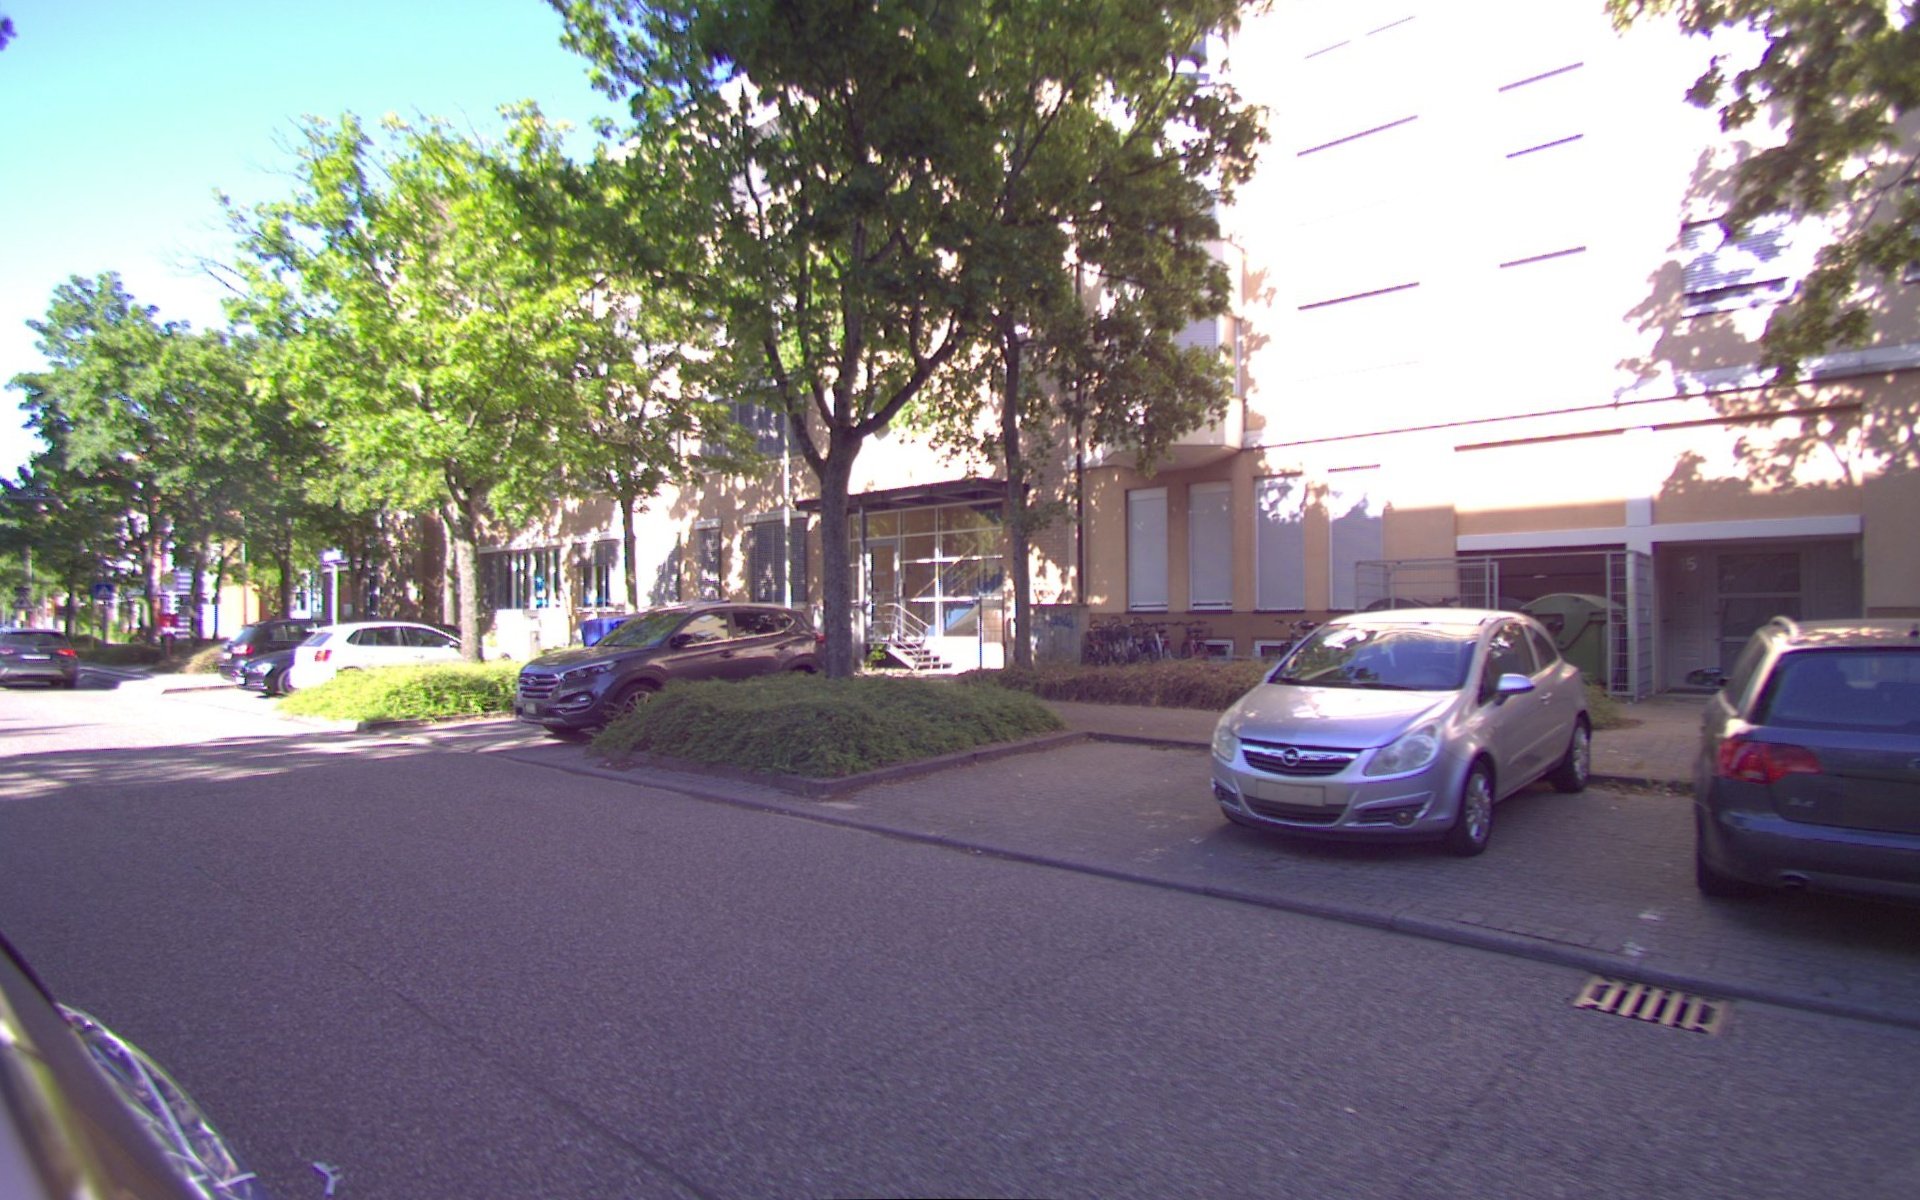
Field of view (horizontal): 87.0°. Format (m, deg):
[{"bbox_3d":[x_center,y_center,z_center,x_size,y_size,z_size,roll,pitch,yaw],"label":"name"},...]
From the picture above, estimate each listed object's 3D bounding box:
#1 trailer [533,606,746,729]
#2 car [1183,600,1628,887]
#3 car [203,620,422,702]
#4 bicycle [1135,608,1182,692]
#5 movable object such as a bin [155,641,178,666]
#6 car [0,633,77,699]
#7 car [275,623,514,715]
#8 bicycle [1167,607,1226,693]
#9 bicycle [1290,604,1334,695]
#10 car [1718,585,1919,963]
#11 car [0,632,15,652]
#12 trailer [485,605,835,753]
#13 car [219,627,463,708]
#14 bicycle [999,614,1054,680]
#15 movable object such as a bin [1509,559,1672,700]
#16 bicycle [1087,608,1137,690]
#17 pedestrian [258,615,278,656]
[{"bbox_3d":[-5.020,0.987,15.983,1.711,1.700,2.697,-2,-1,41],"label":"trailer"},{"bbox_3d":[3.400,0.783,7.350,1.733,1.472,3.792,-2,-1,44],"label":"car"},{"bbox_3d":[-15.026,1.346,23.634,1.727,1.582,3.947,-2,0,40],"label":"car"},{"bbox_3d":[3.634,0.880,18.432,0.609,1.419,1.720,-1,0,18],"label":"bicycle"},{"bbox_3d":[-24.615,1.665,31.393,0.435,0.736,0.409,-1,0,-21],"label":"movable object such as a bin"},{"bbox_3d":[-23.716,1.606,25.438,3.998,1.523,1.761,-2,-2,41],"label":"car"},{"bbox_3d":[-10.963,1.265,19.790,1.754,1.463,3.715,-2,0,42],"label":"car"},{"bbox_3d":[4.198,0.855,17.906,0.611,1.419,1.714,-1,0,27],"label":"bicycle"},{"bbox_3d":[5.831,0.789,16.837,0.609,1.419,1.720,-1,0,18],"label":"bicycle"},{"bbox_3d":[5.199,0.673,5.363,1.830,1.504,3.744,-2,-1,37],"label":"car"},{"bbox_3d":[-71.092,3.107,73.101,1.617,1.430,3.953,-2,-1,40],"label":"car"},{"bbox_3d":[-3.843,0.914,13.589,1.853,1.584,4.221,-2,0,37],"label":"trailer"},{"bbox_3d":[-13.184,1.370,21.749,1.800,1.413,4.109,-2,0,40],"label":"car"},{"bbox_3d":[1.377,0.928,20.566,0.449,1.239,1.681,-1,0,28],"label":"bicycle"},{"bbox_3d":[8.822,0.413,14.167,1.663,1.810,1.582,-2,-2,42],"label":"movable object such as a bin"},{"bbox_3d":[2.844,0.881,18.828,0.609,1.419,1.720,-1,0,18],"label":"bicycle"},{"bbox_3d":[-34.664,1.749,50.675,0.673,1.930,0.615,14,10,41],"label":"pedestrian"}]
